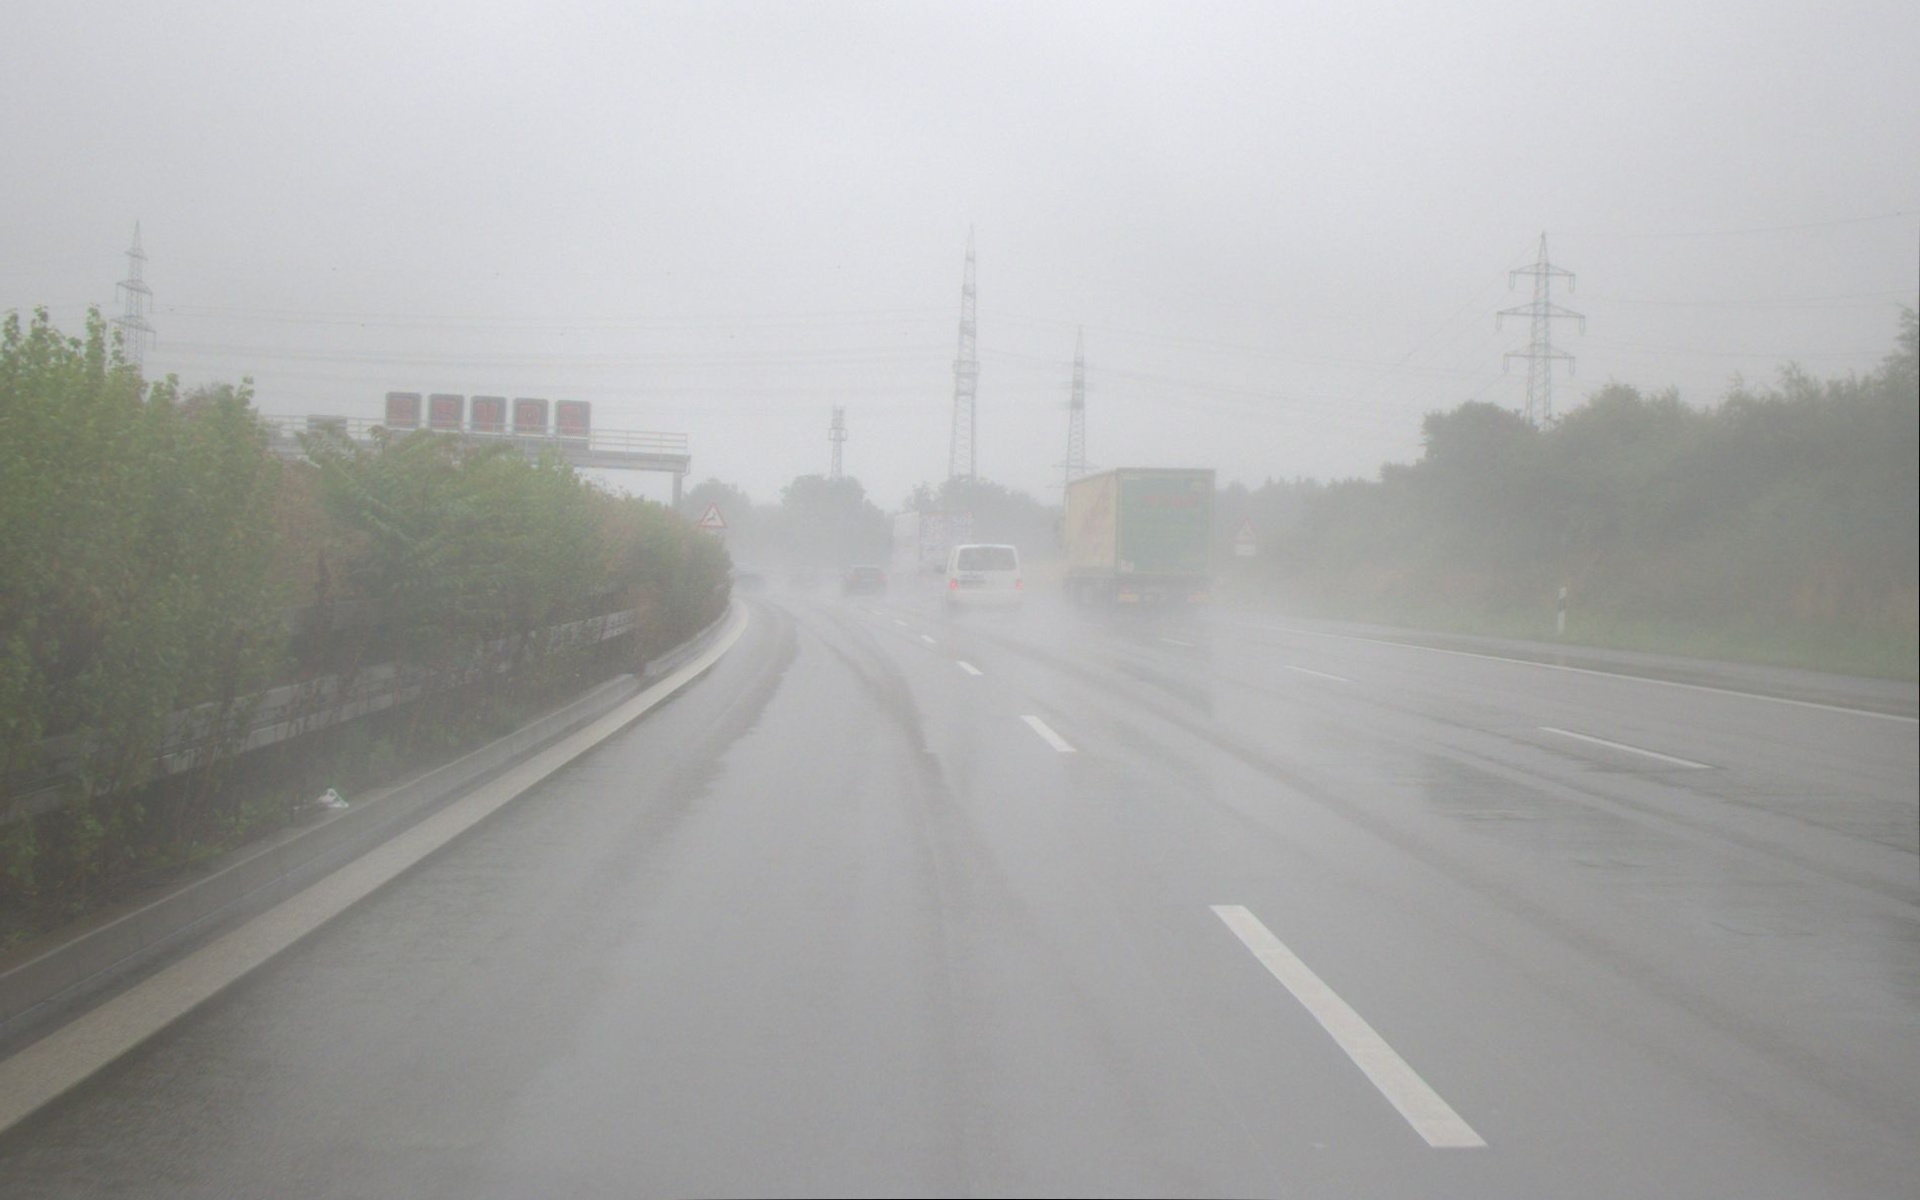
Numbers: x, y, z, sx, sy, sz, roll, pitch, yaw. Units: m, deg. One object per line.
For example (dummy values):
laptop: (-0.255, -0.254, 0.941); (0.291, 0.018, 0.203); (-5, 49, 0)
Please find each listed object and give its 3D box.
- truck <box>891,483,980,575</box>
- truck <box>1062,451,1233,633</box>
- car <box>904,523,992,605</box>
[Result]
truck: (-1.235, -3.401, 165.304); (3.232, 4.297, 8.839); (0, 1, -7)
truck: (5.024, -1.547, 95.735); (4.189, 4.614, 16.105); (0, 0, 1)
car: (-0.329, -0.924, 86.570); (1.993, 2.007, 4.001); (0, 1, -3)
